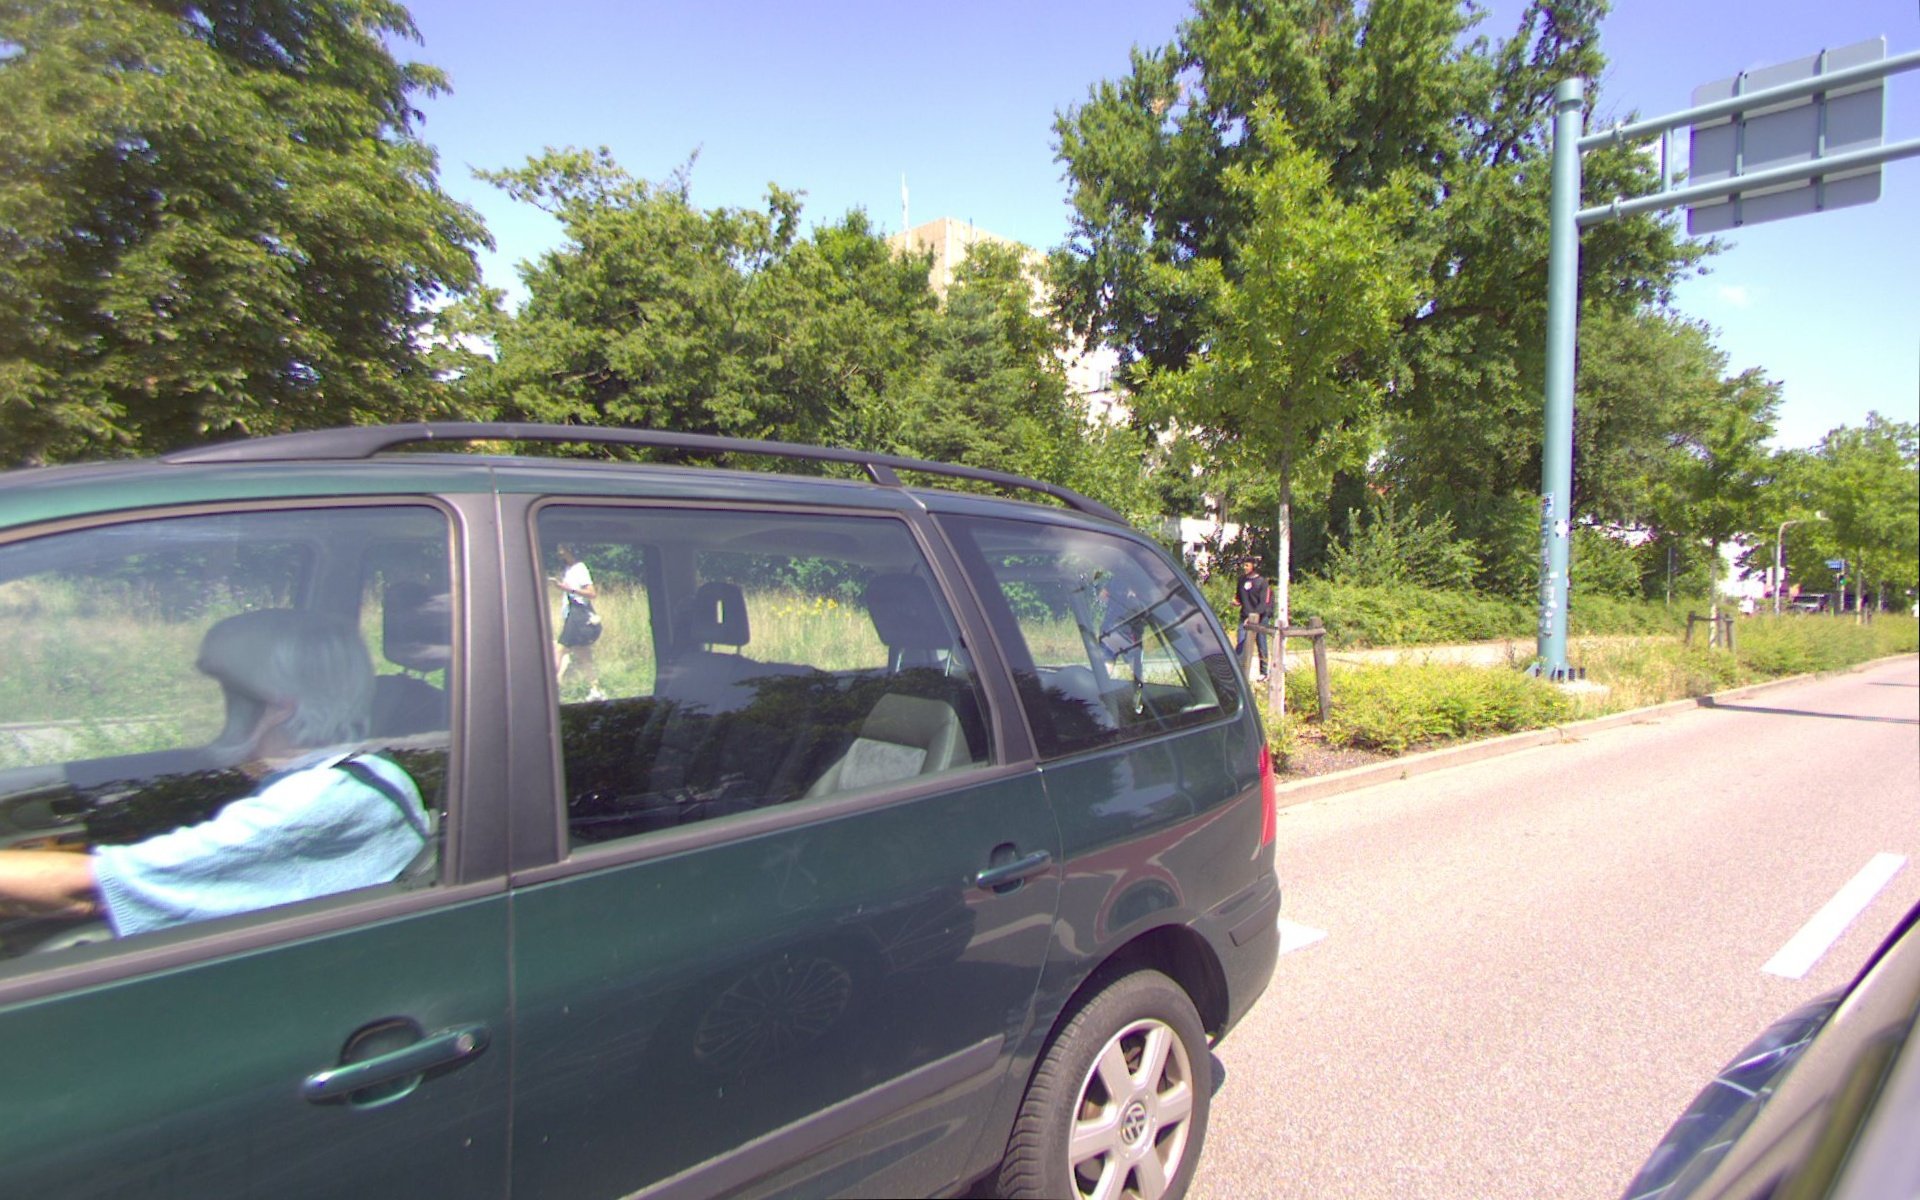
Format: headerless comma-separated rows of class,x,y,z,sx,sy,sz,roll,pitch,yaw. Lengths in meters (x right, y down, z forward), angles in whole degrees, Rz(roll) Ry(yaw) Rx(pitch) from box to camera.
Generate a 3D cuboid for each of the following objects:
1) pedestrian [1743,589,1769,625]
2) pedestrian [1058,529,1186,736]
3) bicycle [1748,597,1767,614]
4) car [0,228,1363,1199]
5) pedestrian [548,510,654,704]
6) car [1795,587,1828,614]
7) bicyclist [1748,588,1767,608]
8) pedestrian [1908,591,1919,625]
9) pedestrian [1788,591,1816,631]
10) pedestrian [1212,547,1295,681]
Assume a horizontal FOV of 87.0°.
pedestrian,42.820,0.353,54.473,0.965,1.896,0.869,1,0,32
pedestrian,1.592,0.288,9.983,0.760,1.916,0.952,1,0,-40
bicycle,58.647,0.390,74.420,0.882,1.267,2.132,1,1,43
car,-1.145,0.517,1.968,4.311,1.756,1.815,0,0,-41
pedestrian,-3.418,0.055,9.619,0.733,1.743,0.724,0,1,-39
car,69.529,0.054,82.613,1.992,2.080,4.167,2,1,41
bicyclist,58.658,-0.160,74.434,0.969,1.462,1.060,1,1,43
pedestrian,56.317,0.488,59.104,0.952,1.950,1.111,1,1,-27
pedestrian,37.818,0.491,45.457,0.913,1.743,0.815,0,1,-39
pedestrian,3.974,0.171,13.696,0.822,1.743,0.718,0,1,-39
